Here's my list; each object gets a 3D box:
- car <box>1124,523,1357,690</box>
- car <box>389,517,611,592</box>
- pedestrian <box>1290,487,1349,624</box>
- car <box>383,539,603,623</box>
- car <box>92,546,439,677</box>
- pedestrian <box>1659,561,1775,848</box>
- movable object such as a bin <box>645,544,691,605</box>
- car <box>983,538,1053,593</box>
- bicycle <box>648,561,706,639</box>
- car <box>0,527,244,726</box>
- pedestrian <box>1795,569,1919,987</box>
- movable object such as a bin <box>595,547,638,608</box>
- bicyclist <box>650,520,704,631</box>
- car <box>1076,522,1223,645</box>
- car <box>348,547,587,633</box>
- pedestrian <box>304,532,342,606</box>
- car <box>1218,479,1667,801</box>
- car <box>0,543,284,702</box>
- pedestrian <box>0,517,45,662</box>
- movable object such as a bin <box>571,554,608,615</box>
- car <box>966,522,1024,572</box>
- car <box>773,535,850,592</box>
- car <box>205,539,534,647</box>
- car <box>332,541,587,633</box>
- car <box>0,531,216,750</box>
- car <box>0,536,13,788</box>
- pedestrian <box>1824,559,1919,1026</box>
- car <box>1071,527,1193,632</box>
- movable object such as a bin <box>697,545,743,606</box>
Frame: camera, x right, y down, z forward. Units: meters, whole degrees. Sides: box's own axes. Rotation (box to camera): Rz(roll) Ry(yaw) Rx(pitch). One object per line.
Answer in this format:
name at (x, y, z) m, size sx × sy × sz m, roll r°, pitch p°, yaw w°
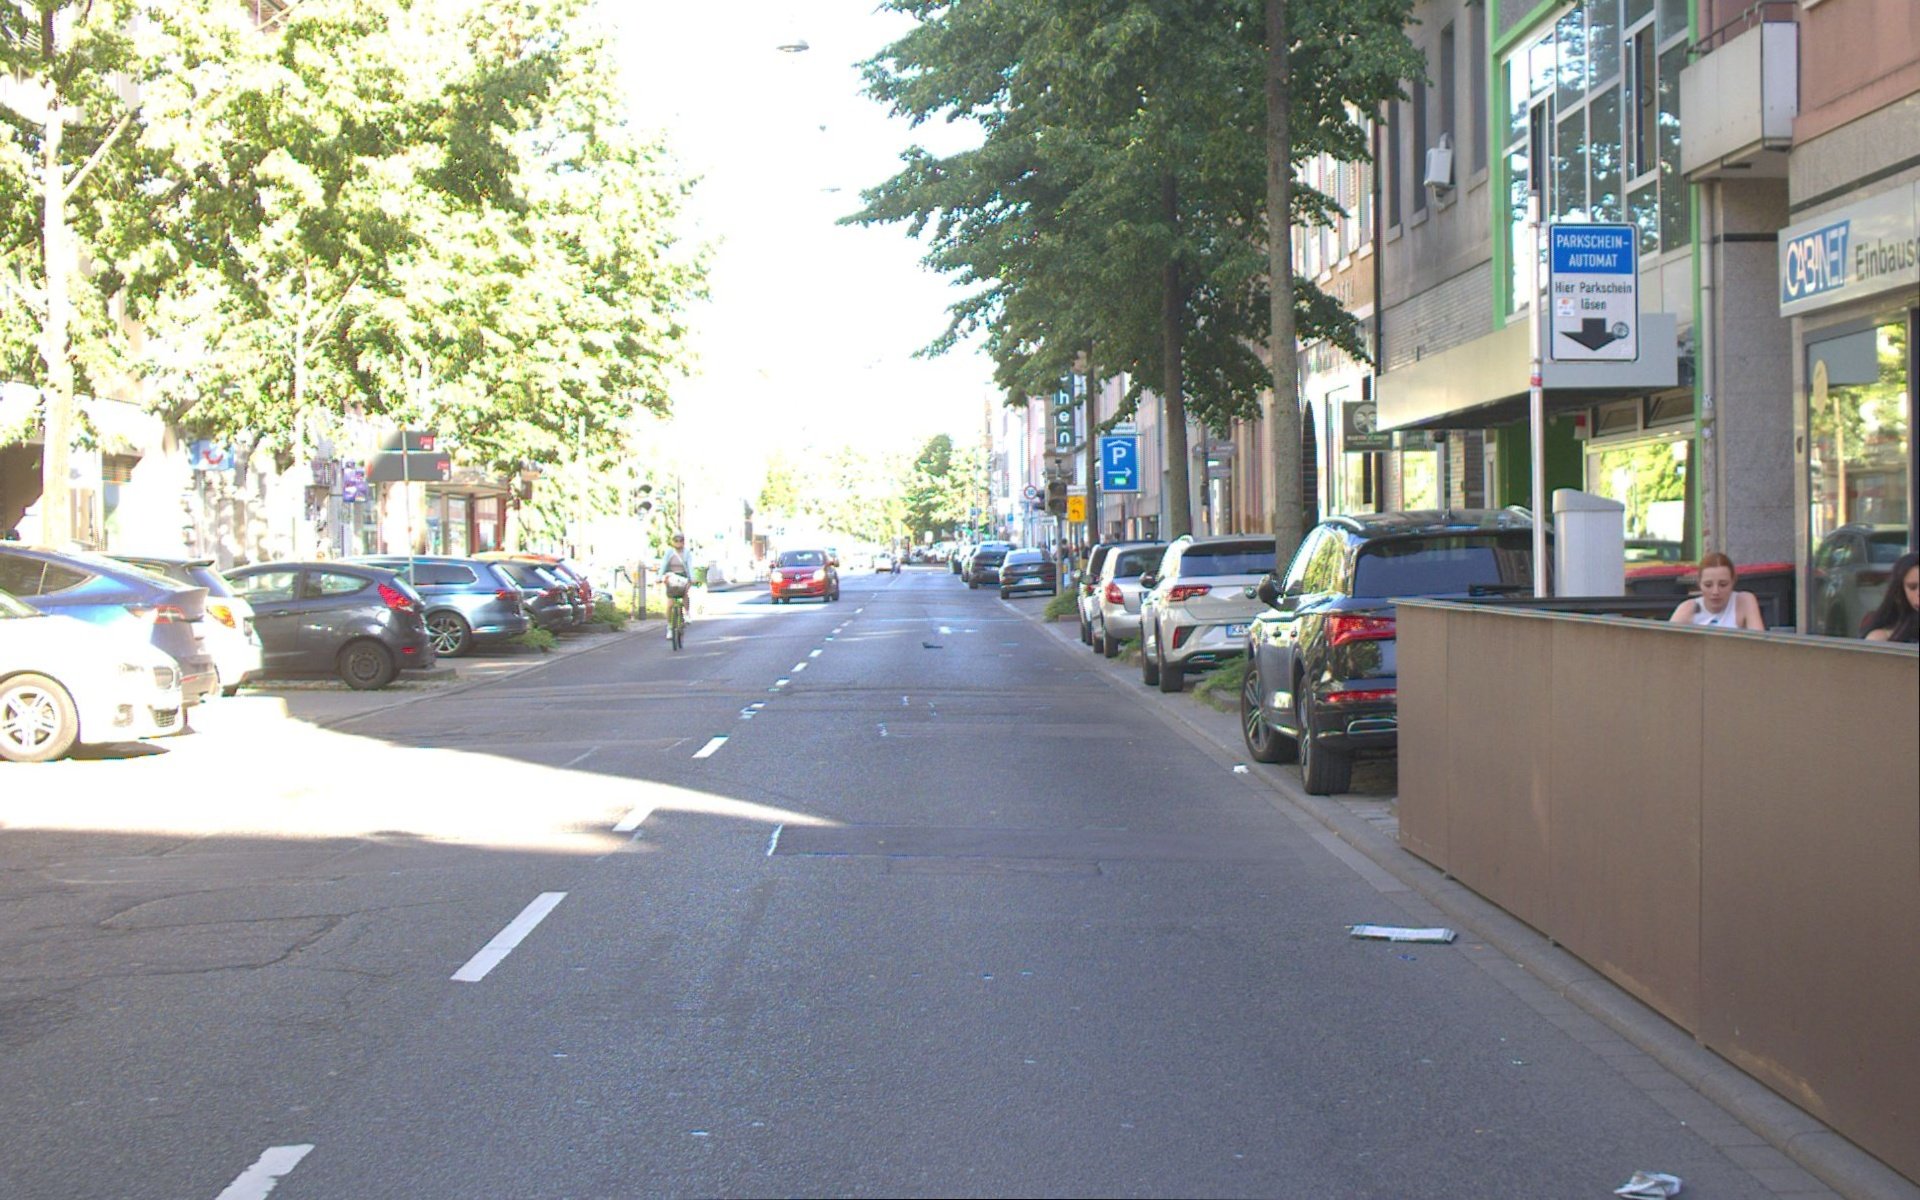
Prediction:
car at (2.793, 0.025, 35.091) m, size 1.883 × 1.522 × 4.234 m, roll -3°, pitch 1°, yaw -1°
car at (-9.229, -0.911, 69.205) m, size 4.203 × 1.463 × 1.739 m, roll 0°, pitch 1°, yaw 2°
pedestrian at (4.722, -0.586, 45.210) m, size 0.623 × 1.759 × 0.771 m, roll -3°, pitch 1°, yaw 1°
car at (-8.385, -0.354, 61.913) m, size 3.748 × 1.463 × 1.740 m, roll 0°, pitch 1°, yaw -1°
car at (-7.891, 0.107, 39.354) m, size 3.779 × 1.454 × 1.781 m, roll 0°, pitch 1°, yaw -8°
pedestrian at (3.579, 0.482, 16.241) m, size 0.473 × 1.326 × 0.483 m, roll 1°, pitch 1°, yaw 19°
movable object such as a bin at (-7.109, -0.635, 83.833) m, size 1.042 × 1.466 × 1.143 m, roll -1°, pitch 1°, yaw -2°
car at (1.718, -1.052, 103.335) m, size 1.917 × 1.473 × 4.965 m, roll -4°, pitch 1°, yaw 0°
bicycle at (-4.377, -0.018, 53.286) m, size 0.725 × 1.165 × 2.197 m, roll 0°, pitch 1°, yaw 0°
car at (-8.224, 0.189, 27.999) m, size 4.366 × 1.565 × 1.980 m, roll 0°, pitch 1°, yaw 0°
pedestrian at (3.107, 0.577, 11.495) m, size 0.472 × 1.357 × 0.594 m, roll 0°, pitch 1°, yaw 0°
movable object such as a bin at (-8.389, -0.559, 84.009) m, size 0.964 × 1.466 × 1.143 m, roll -1°, pitch 1°, yaw -2°
bicyclist at (-4.376, -0.380, 53.199) m, size 0.725 × 1.694 × 1.282 m, roll 0°, pitch 1°, yaw 0°
car at (2.577, -0.253, 47.604) m, size 1.613 × 1.523 × 4.235 m, roll -4°, pitch 1°, yaw -1°
car at (-8.475, -0.182, 59.383) m, size 3.841 × 1.424 × 1.789 m, roll 0°, pitch 1°, yaw 1°
pedestrian at (-12.231, -0.604, 66.032) m, size 0.508 × 1.403 × 0.825 m, roll 1°, pitch 1°, yaw 4°
car at (2.877, 0.184, 21.539) m, size 1.993 × 1.684 × 4.517 m, roll -4°, pitch 1°, yaw -1°
car at (-8.686, 0.192, 32.640) m, size 4.244 × 1.453 × 1.980 m, roll 0°, pitch 1°, yaw -4°
pedestrian at (-11.883, -0.138, 42.774) m, size 0.699 × 1.791 × 0.745 m, roll 0°, pitch 1°, yaw 11°
movable object such as a bin at (-8.294, -0.356, 77.008) m, size 0.754 × 1.336 × 0.805 m, roll -1°, pitch 1°, yaw -2°
car at (1.246, -1.922, 122.908) m, size 1.973 × 1.719 × 4.824 m, roll 1°, pitch 1°, yaw 0°
car at (-4.207, -1.064, 97.846) m, size 1.658 × 1.530 × 3.760 m, roll -2°, pitch 1°, yaw 5°
car at (-8.572, -0.110, 50.164) m, size 4.492 × 1.454 × 1.790 m, roll 1°, pitch 1°, yaw -2°
car at (-8.238, -0.226, 56.813) m, size 3.919 × 1.480 × 1.771 m, roll 0°, pitch 1°, yaw 1°
car at (-7.937, 0.271, 25.620) m, size 4.366 × 1.565 × 1.946 m, roll 0°, pitch 1°, yaw 0°
car at (-7.819, 0.391, 20.588) m, size 3.799 × 1.553 × 1.792 m, roll 0°, pitch 1°, yaw 0°
pedestrian at (2.976, 0.565, 10.428) m, size 0.552 × 1.374 × 0.594 m, roll 0°, pitch 1°, yaw 0°
car at (2.650, -0.336, 53.409) m, size 1.613 × 1.523 × 3.061 m, roll -2°, pitch 1°, yaw -1°
movable object such as a bin at (-5.865, -0.612, 83.988) m, size 1.042 × 1.466 × 1.453 m, roll -1°, pitch 1°, yaw -2°
